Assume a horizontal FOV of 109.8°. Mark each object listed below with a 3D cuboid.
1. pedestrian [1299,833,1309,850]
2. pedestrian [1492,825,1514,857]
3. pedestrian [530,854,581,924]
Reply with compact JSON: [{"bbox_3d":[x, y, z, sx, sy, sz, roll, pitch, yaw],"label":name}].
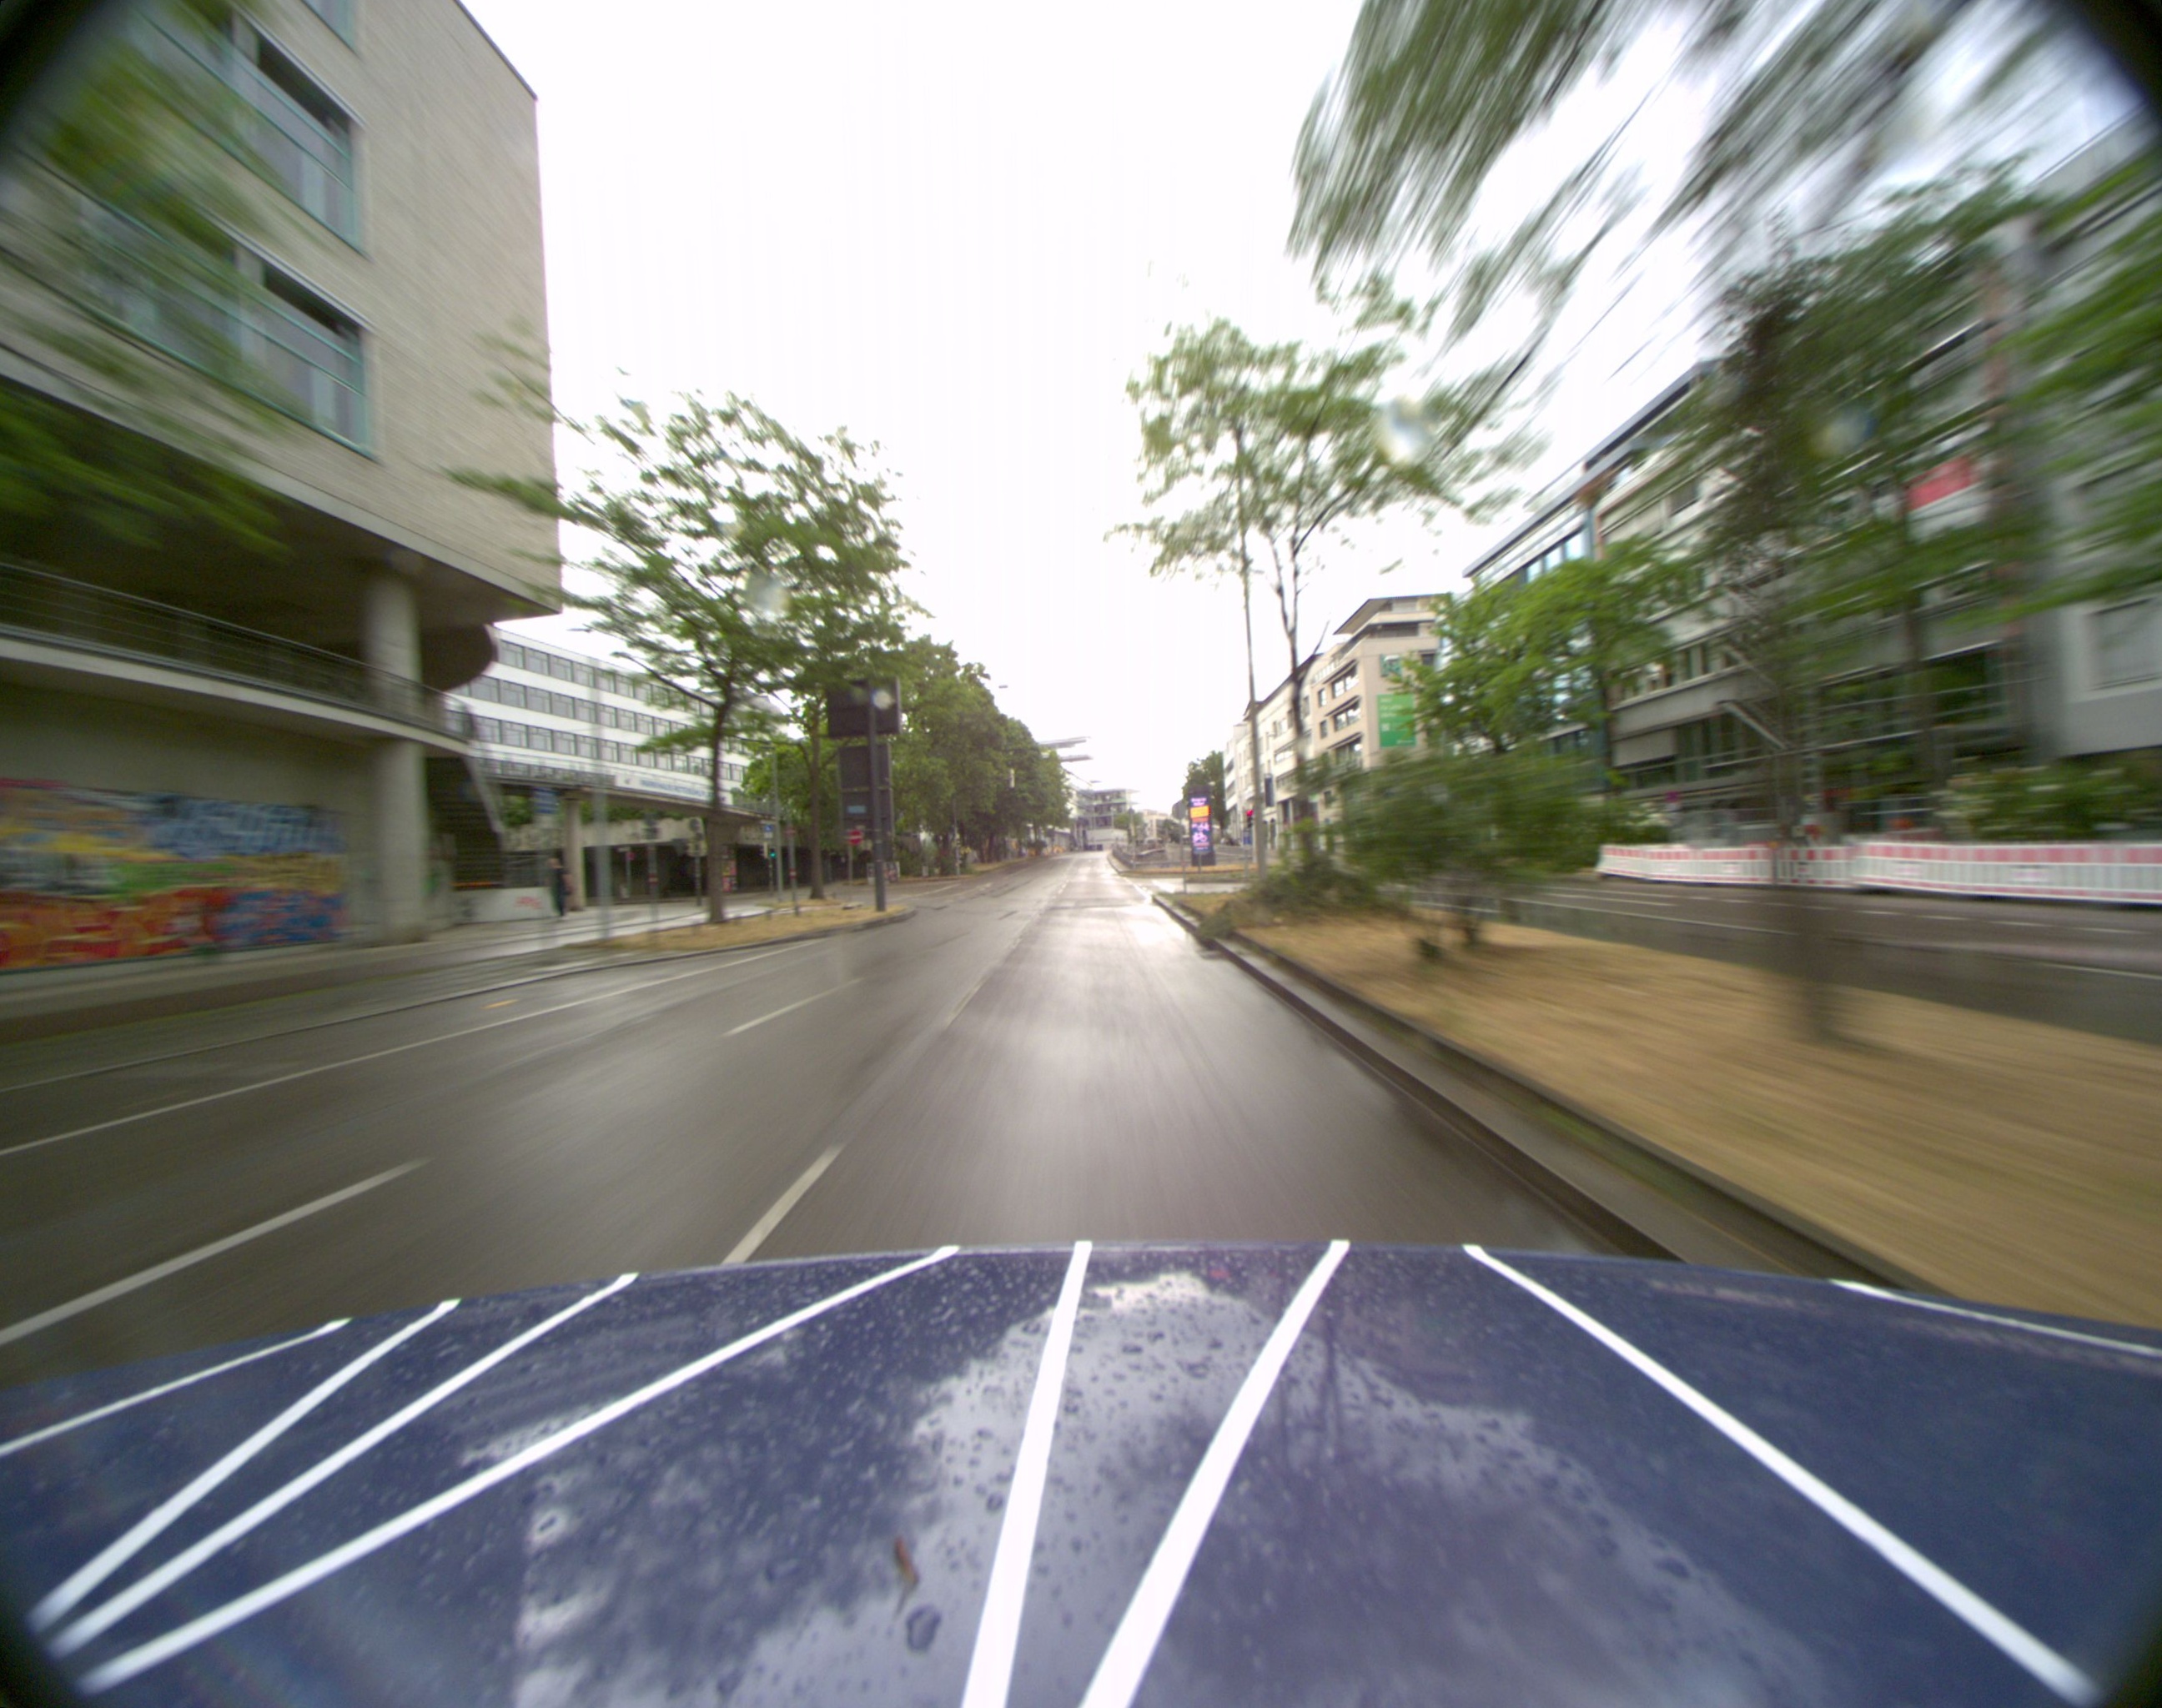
[{"bbox_3d":[21.856,-1.229,74.520,0.695,1.718,0.803,-2,1,-1],"label":"pedestrian"},{"bbox_3d":[22.973,-0.703,41.353,0.740,1.704,0.757,-3,1,1],"label":"pedestrian"},{"bbox_3d":[-15.526,1.018,22.461,0.871,2.002,0.758,-3,1,1],"label":"pedestrian"}]
